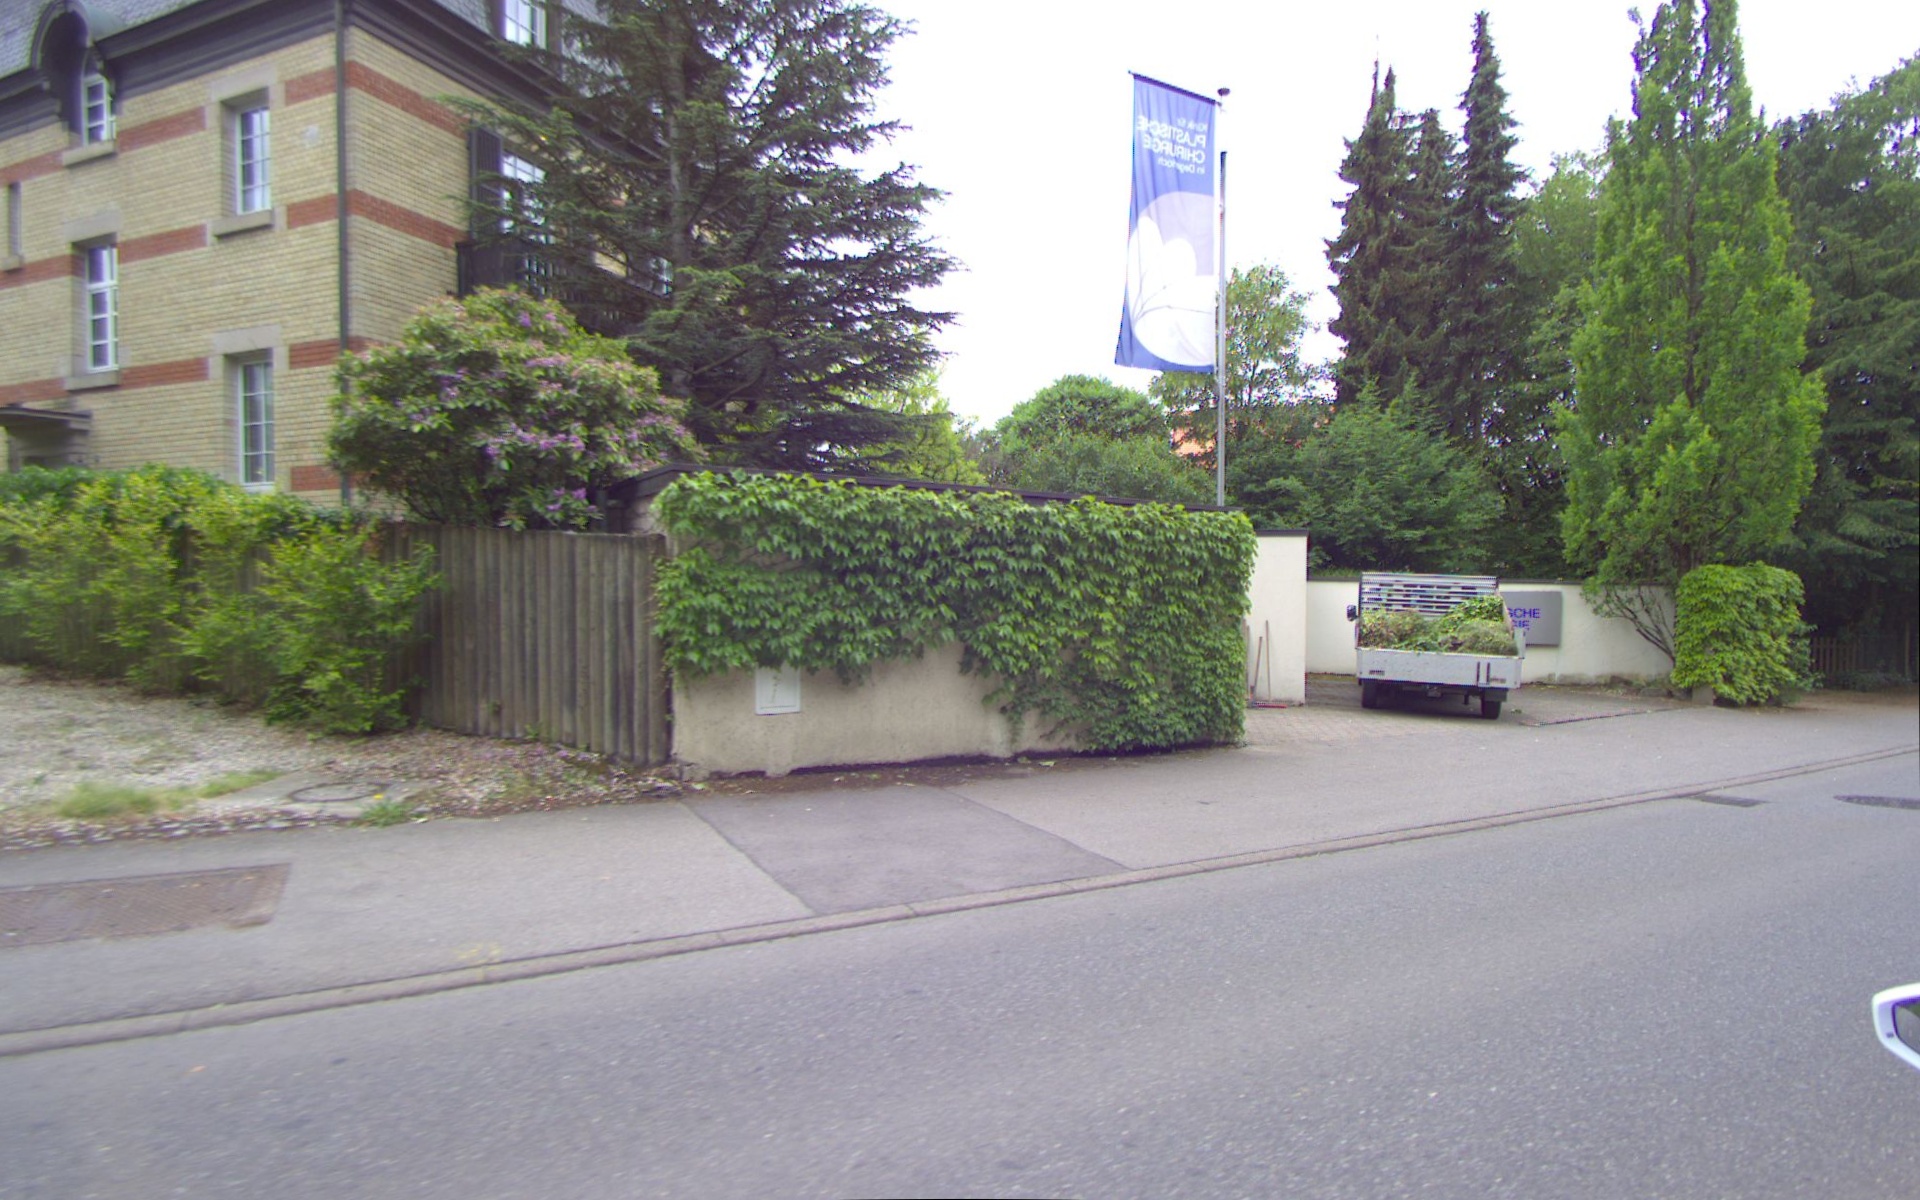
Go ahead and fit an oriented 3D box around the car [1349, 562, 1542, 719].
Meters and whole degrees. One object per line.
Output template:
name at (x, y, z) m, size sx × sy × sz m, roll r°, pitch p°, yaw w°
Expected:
car at (7.721, 0.557, 16.458) m, size 2.379 × 2.100 × 5.359 m, roll 1°, pitch 0°, yaw 22°
